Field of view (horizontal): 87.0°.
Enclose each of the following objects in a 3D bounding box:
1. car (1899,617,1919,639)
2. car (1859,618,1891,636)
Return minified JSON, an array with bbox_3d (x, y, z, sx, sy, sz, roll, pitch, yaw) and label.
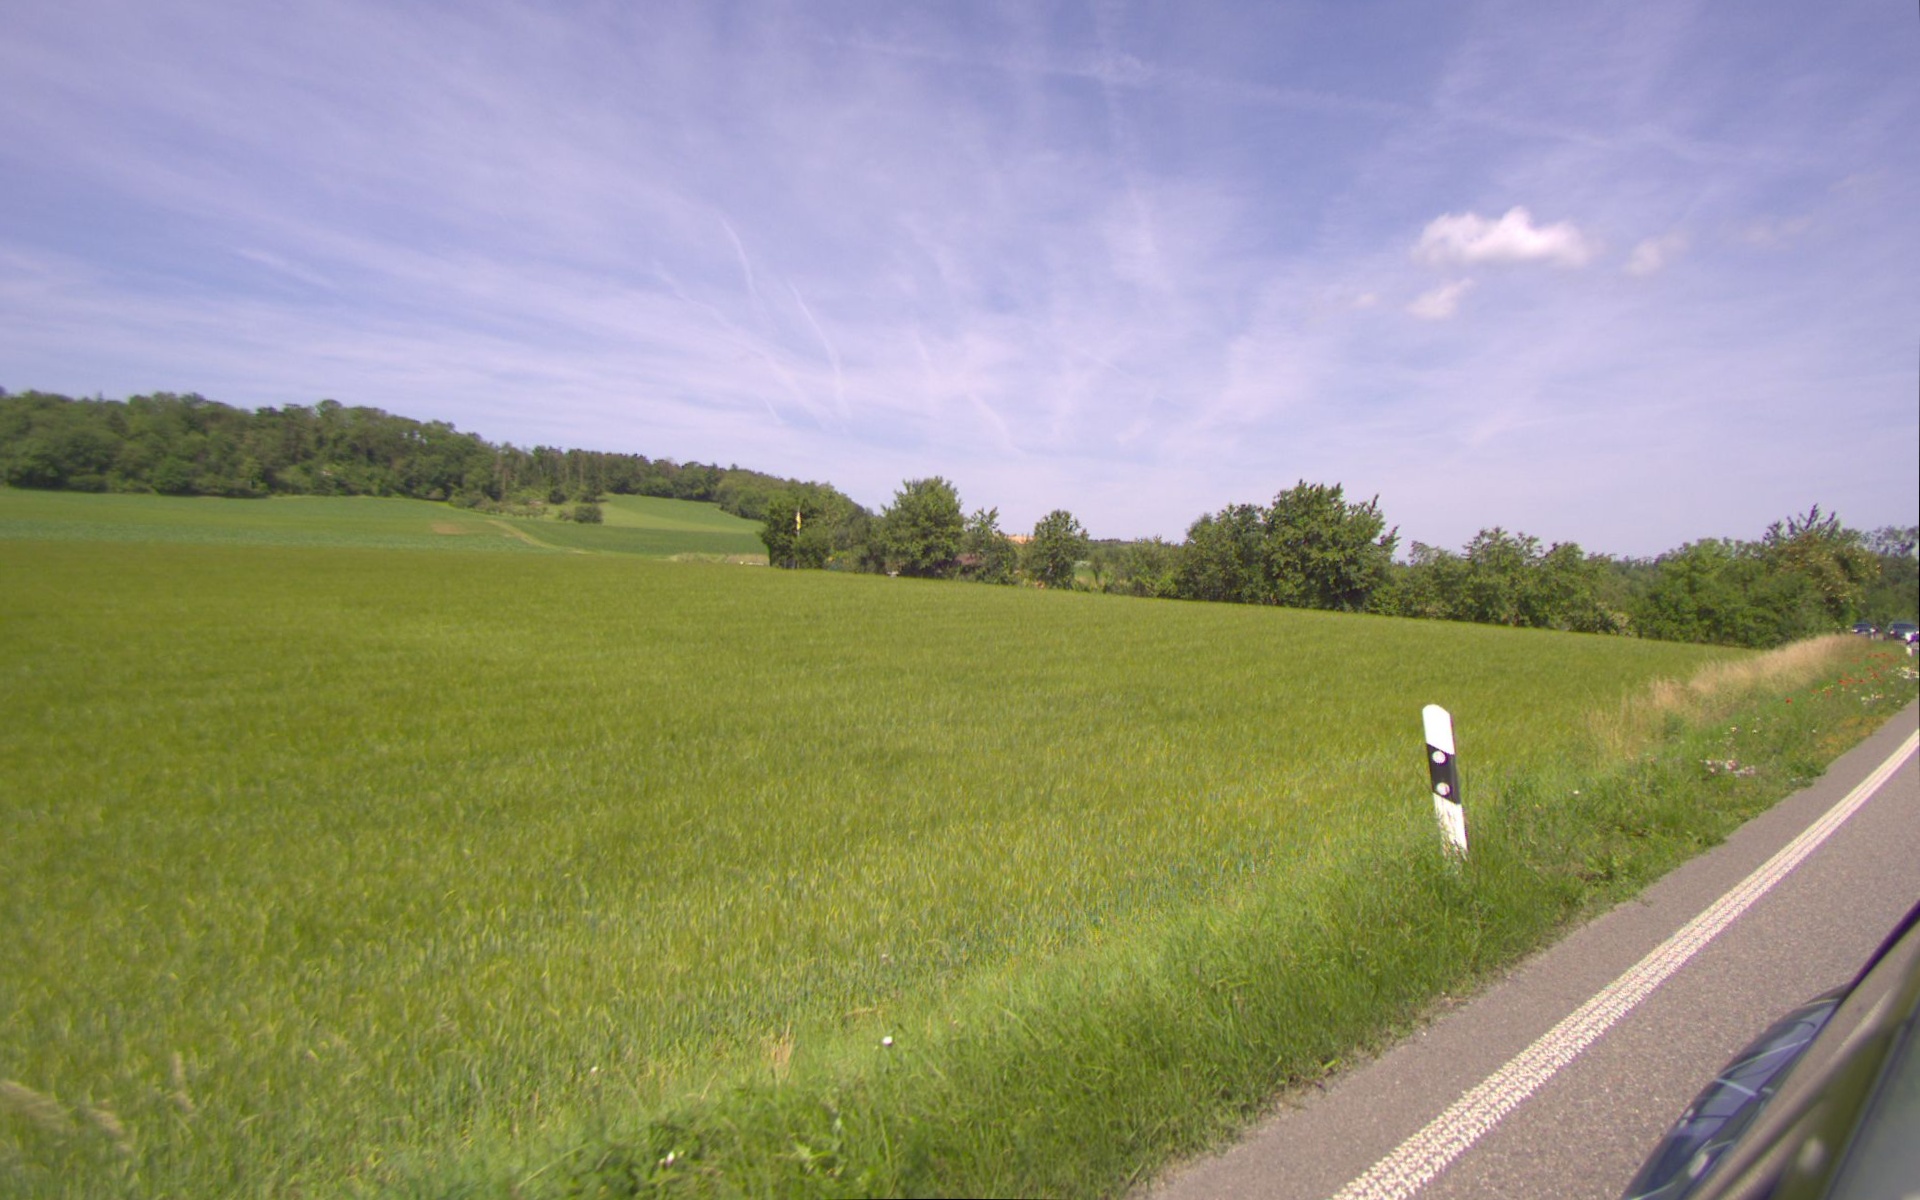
[{"bbox_3d":[71.058,2.112,75.076,1.923,1.468,4.016,3,2,41],"label":"car"},{"bbox_3d":[83.291,2.490,92.151,1.922,1.468,3.941,3,0,40],"label":"car"}]
